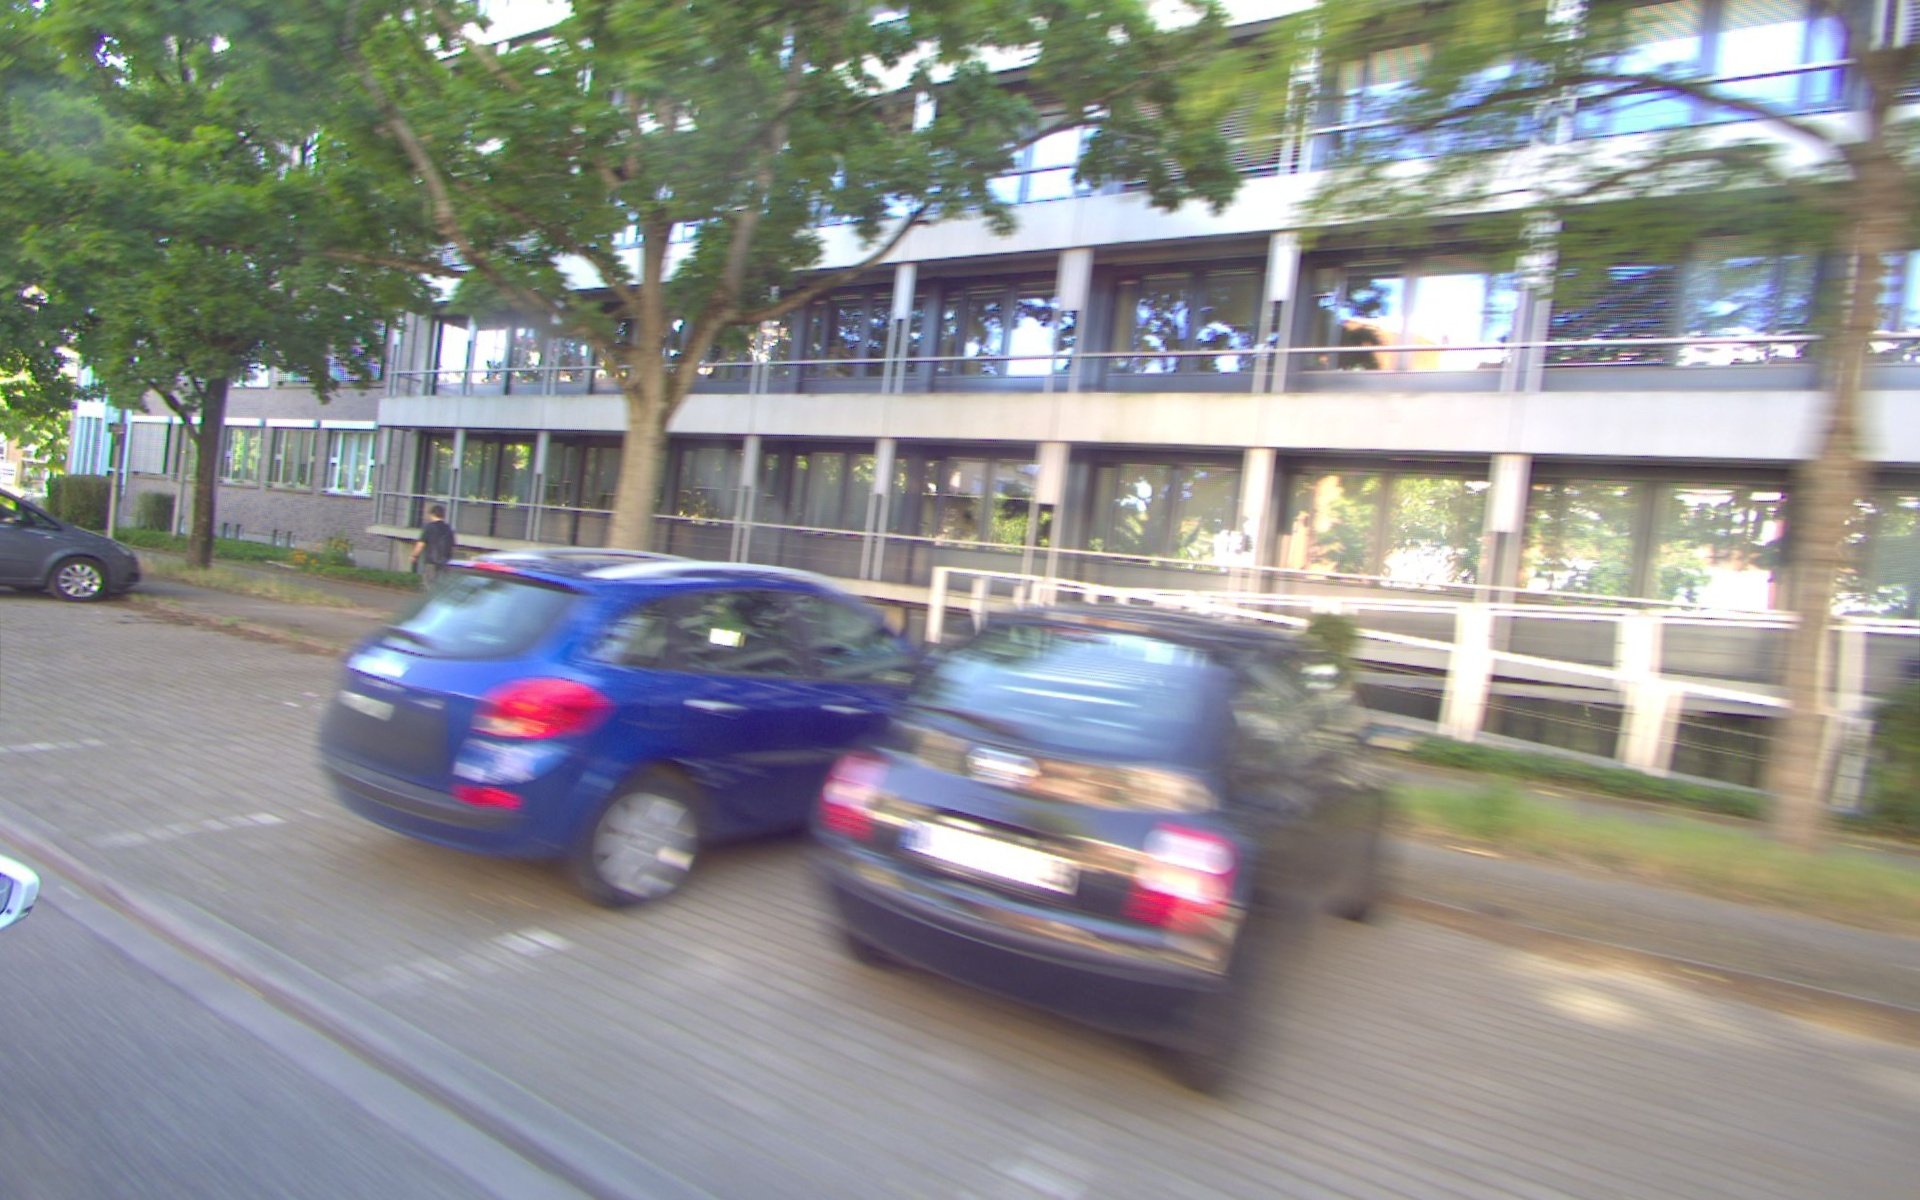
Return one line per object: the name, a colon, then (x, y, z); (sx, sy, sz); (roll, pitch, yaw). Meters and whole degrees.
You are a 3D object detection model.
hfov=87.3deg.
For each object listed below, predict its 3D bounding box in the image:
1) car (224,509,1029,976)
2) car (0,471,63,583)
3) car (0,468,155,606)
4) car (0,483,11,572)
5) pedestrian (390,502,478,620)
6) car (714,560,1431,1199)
car: (-1.397, 0.530, 5.612); (1.783, 1.534, 3.950); (7, 2, 32)
car: (-16.236, -1.278, 14.757); (1.781, 1.690, 4.195); (7, 1, 28)
car: (-13.281, -0.926, 12.785); (1.781, 1.726, 4.356); (7, 1, 28)
car: (-18.621, -1.432, 16.397); (1.781, 1.556, 4.195); (7, 1, 28)
pedestrian: (-8.560, -0.635, 16.363); (1.171, 1.768, 0.608); (7, 2, 31)
car: (0.894, 0.780, 4.587); (1.782, 1.534, 3.643); (7, 2, 31)
